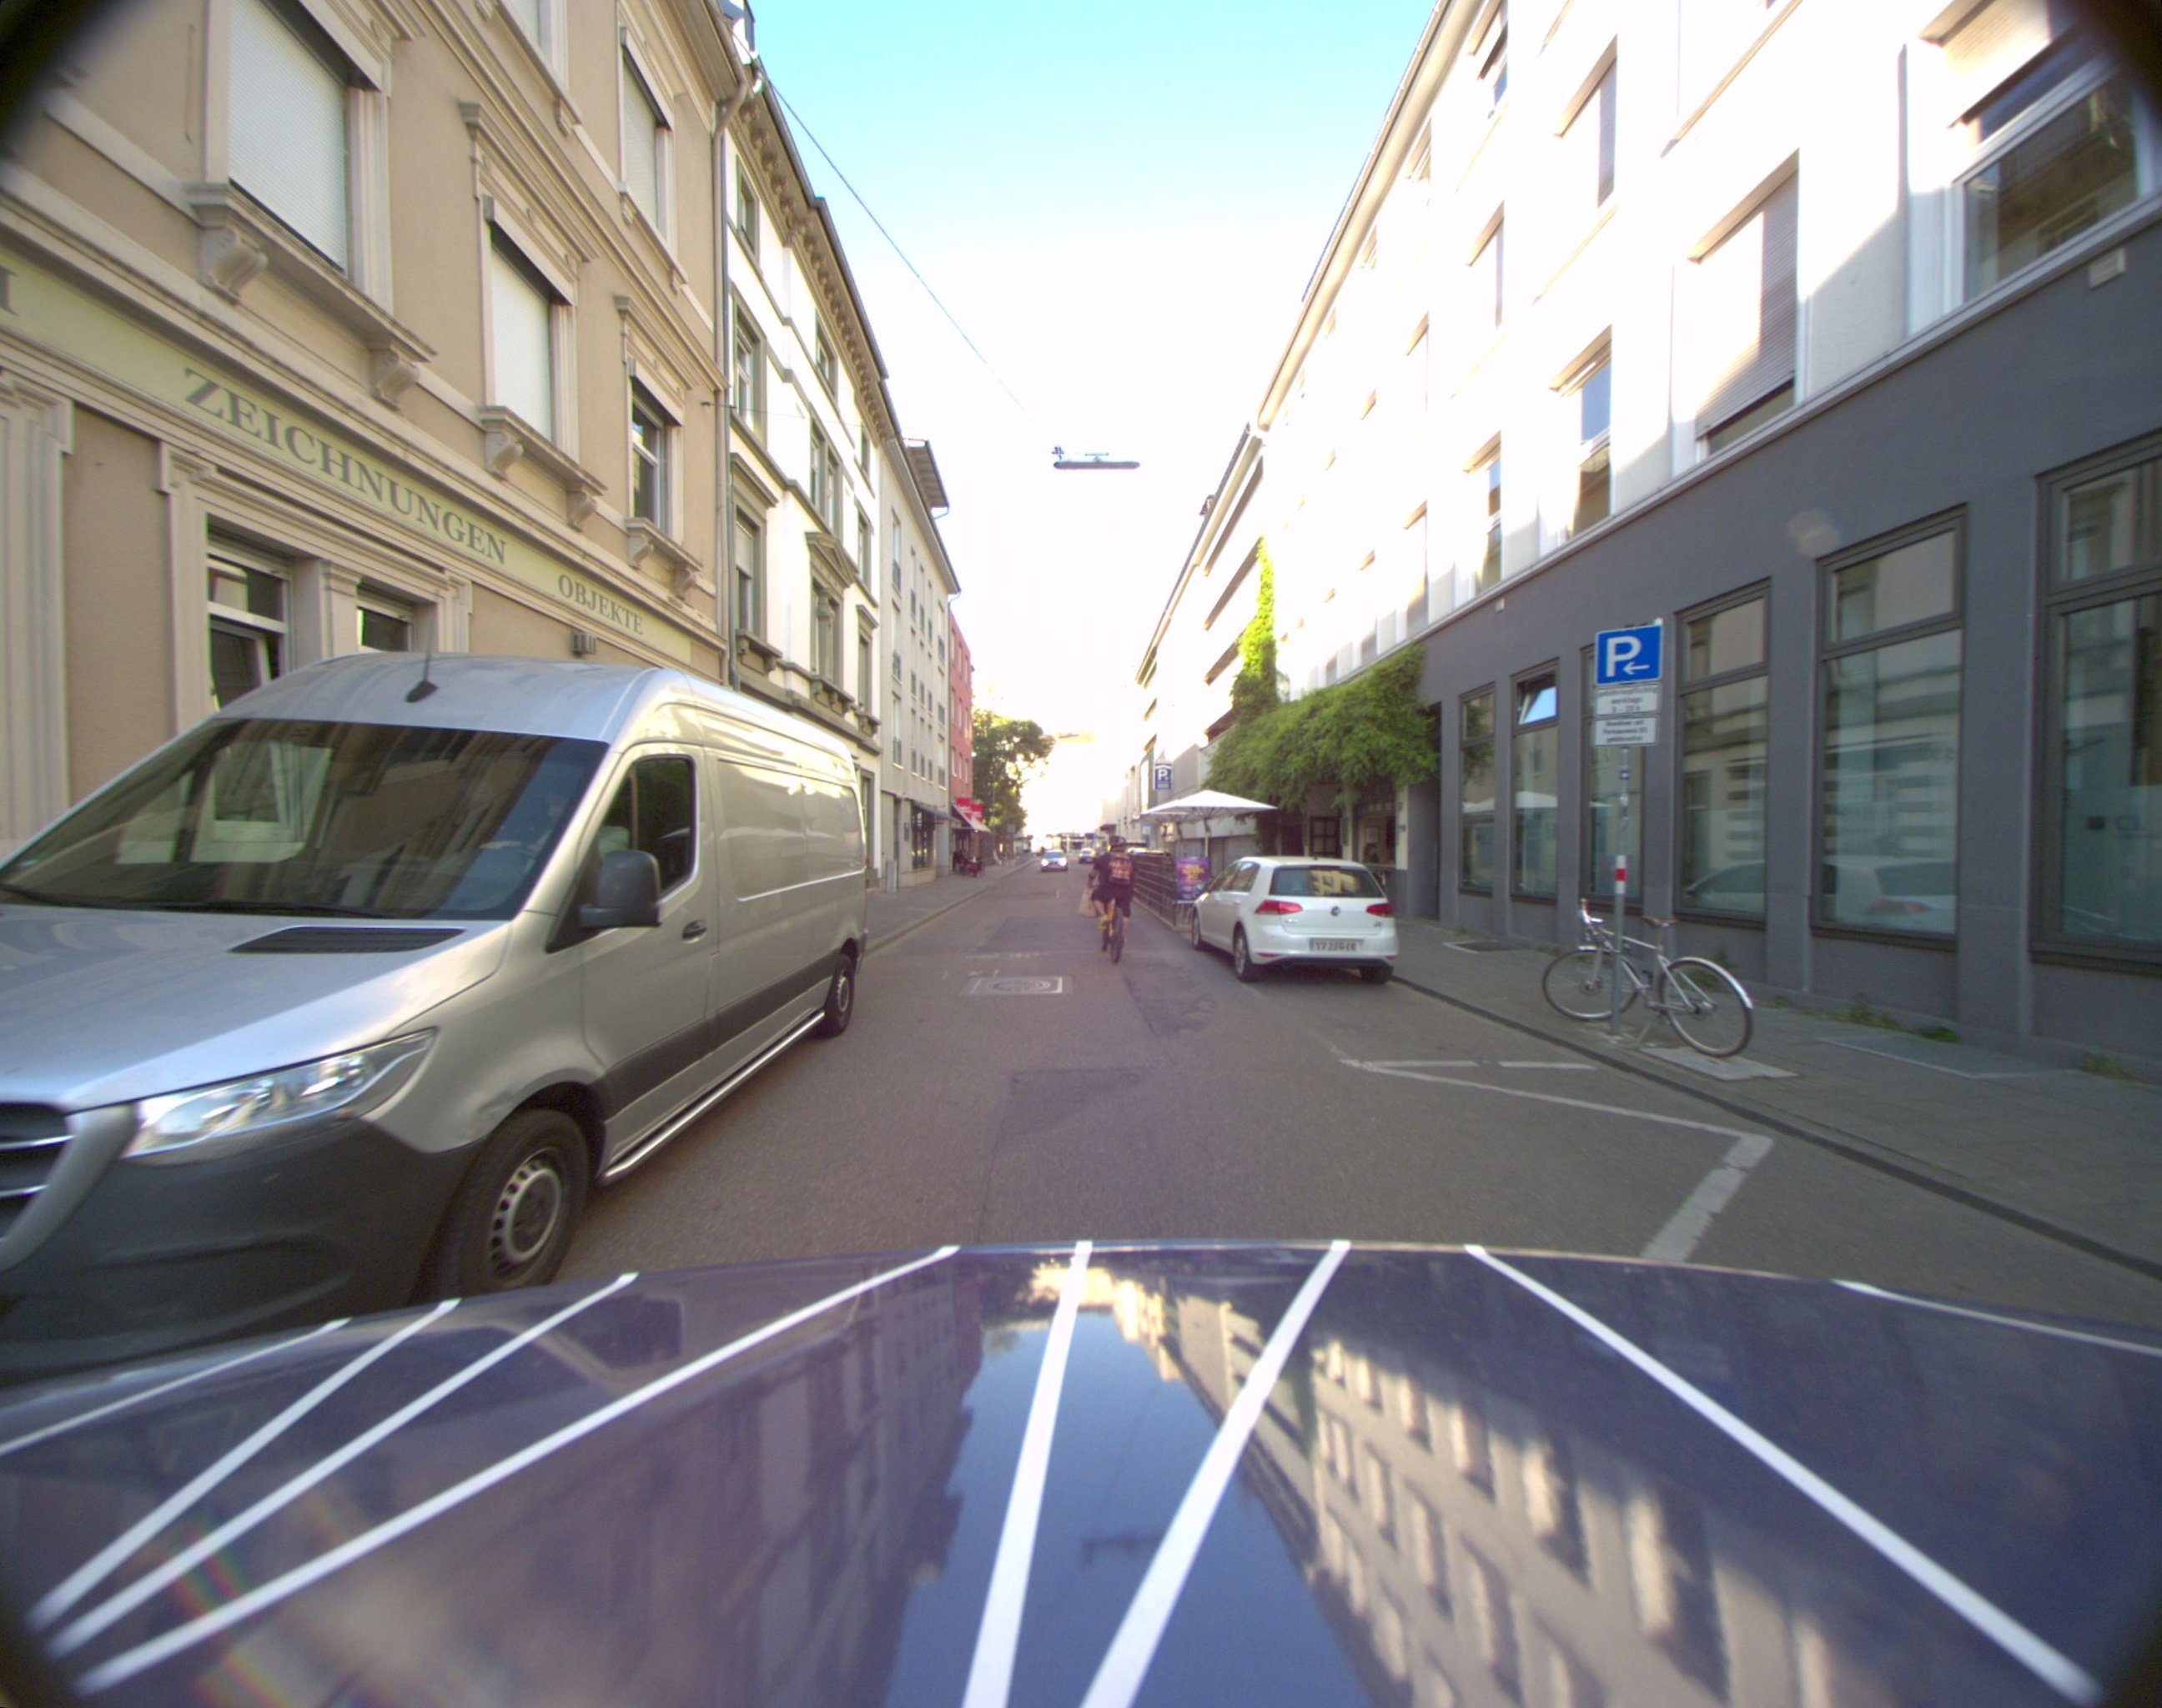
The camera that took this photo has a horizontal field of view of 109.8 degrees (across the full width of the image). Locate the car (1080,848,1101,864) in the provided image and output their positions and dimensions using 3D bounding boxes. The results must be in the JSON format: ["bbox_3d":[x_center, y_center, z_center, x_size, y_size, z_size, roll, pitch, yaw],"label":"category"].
[{"bbox_3d":[0.953,0.210,75.728,1.998,1.409,4.557,2,2,1],"label":"car"}]

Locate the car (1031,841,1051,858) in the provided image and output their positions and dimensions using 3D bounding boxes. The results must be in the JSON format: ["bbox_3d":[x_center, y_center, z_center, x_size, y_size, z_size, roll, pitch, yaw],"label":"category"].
[{"bbox_3d":[-4.718,-0.589,90.783,1.998,2.002,4.000,0,1,3],"label":"car"}]

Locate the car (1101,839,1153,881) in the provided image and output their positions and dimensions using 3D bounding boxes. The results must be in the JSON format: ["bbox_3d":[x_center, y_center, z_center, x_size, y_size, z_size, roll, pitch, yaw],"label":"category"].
[{"bbox_3d":[2.217,0.250,38.018,1.999,1.929,4.848,1,1,-4],"label":"car"}]

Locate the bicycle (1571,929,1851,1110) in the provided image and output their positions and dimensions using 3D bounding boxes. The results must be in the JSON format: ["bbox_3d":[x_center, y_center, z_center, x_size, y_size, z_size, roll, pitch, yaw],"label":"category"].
[{"bbox_3d":[4.301,1.075,5.374,0.598,0.900,1.643,0,1,-1],"label":"bicycle"}]

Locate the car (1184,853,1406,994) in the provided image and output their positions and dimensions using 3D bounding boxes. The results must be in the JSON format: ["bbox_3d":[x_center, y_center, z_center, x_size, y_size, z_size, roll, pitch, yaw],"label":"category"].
[{"bbox_3d":[2.520,0.724,9.931,1.662,1.406,3.880,0,1,-2],"label":"car"}]

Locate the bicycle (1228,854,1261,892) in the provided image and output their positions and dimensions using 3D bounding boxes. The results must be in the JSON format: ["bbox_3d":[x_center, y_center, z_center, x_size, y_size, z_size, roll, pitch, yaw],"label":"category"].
[{"bbox_3d":[5.270,0.594,24.596,0.644,1.153,1.793,-1,1,-1],"label":"bicycle"}]

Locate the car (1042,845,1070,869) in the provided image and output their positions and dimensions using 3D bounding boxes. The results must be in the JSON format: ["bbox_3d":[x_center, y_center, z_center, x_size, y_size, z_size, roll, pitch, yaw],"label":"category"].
[{"bbox_3d":[-1.690,0.157,51.177,1.789,1.516,3.998,-2,1,-2],"label":"car"}]

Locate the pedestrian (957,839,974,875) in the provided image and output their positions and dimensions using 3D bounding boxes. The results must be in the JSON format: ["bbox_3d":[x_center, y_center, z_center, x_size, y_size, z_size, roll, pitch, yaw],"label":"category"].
[{"bbox_3d":[-5.815,0.139,38.121,0.660,1.782,0.729,3,1,-18],"label":"pedestrian"}]

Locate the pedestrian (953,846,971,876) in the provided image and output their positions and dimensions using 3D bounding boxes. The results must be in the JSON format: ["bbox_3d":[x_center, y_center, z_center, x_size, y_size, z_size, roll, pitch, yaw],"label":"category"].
[{"bbox_3d":[-6.018,0.345,38.474,0.827,1.477,0.661,0,1,-3],"label":"pedestrian"}]

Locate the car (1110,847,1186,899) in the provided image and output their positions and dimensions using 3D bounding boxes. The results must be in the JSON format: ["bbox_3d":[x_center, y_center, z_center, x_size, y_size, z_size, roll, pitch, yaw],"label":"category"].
[{"bbox_3d":[2.237,0.594,26.651,1.886,1.559,4.768,2,1,-4],"label":"car"}]

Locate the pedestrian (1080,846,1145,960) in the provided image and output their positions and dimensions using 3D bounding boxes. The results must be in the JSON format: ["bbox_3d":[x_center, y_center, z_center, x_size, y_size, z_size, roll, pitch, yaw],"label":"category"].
[{"bbox_3d":[0.426,0.656,10.839,0.831,1.536,1.082,0,1,-3],"label":"pedestrian"}]

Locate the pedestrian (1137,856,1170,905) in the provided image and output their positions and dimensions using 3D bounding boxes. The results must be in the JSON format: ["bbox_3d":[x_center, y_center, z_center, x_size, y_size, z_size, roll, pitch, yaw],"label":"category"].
[{"bbox_3d":[1.957,0.709,20.638,0.783,1.280,0.915,0,1,-1],"label":"pedestrian"}]

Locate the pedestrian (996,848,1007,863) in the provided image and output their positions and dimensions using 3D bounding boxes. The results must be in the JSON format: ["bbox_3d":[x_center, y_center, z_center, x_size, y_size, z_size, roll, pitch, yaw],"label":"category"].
[{"bbox_3d":[-6.874,0.153,65.550,0.928,1.242,0.362,1,1,-4],"label":"pedestrian"}]

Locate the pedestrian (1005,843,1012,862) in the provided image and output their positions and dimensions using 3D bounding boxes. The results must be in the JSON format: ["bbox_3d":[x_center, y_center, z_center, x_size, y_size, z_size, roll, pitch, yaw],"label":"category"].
[{"bbox_3d":[-6.291,-0.125,65.775,0.438,1.637,0.557,2,1,6],"label":"pedestrian"}]

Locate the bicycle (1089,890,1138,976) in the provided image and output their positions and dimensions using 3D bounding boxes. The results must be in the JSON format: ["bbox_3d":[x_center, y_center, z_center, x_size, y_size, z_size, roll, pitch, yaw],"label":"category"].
[{"bbox_3d":[0.434,1.073,10.865,0.539,1.002,1.980,0,1,-2],"label":"bicycle"}]

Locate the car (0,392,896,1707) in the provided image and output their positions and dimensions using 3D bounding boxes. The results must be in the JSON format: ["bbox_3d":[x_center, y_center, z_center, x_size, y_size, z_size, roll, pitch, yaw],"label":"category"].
[{"bbox_3d":[-2.973,0.370,4.440,2.283,2.425,6.202,0,1,0],"label":"car"}]
